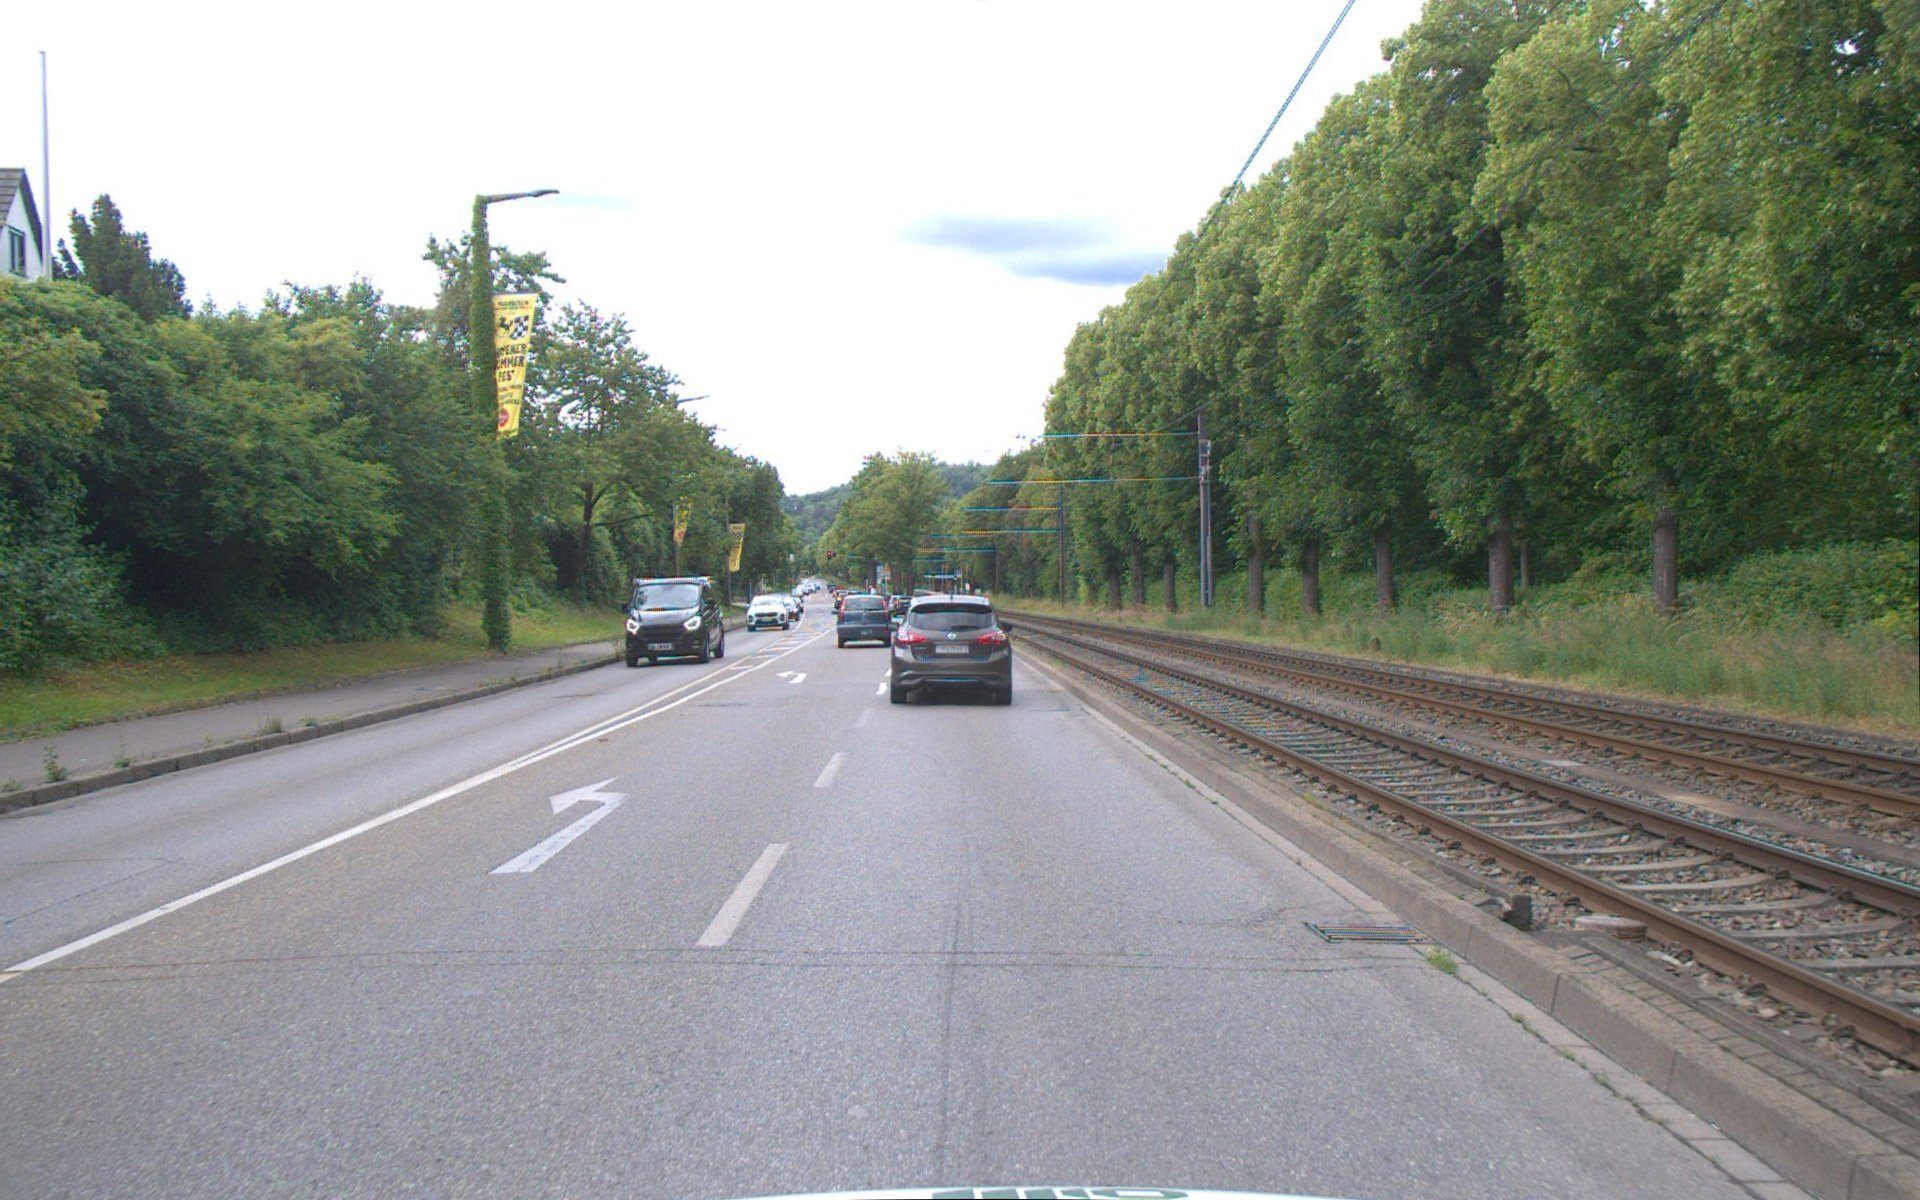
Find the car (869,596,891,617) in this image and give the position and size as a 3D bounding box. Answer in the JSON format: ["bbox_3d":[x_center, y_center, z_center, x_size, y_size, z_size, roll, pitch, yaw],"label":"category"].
[{"bbox_3d":[-6.240,0.502,129.333,1.681,1.577,3.998,0,-1,-2],"label":"car"}]

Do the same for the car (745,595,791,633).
[{"bbox_3d":[-8.974,0.623,77.641,1.805,1.648,4.157,-2,0,-3],"label":"car"}]

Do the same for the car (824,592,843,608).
[{"bbox_3d":[-13.559,0.005,177.419,1.665,1.744,4.000,0,0,-1],"label":"car"}]

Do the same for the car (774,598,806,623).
[{"bbox_3d":[-10.637,0.637,103.609,1.731,1.425,4.213,-3,0,-3],"label":"car"}]

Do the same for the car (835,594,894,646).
[{"bbox_3d":[-2.813,0.569,48.778,1.666,1.469,3.997,0,0,-3],"label":"car"}]

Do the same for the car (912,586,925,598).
[{"bbox_3d":[-5.829,-1.091,233.865,1.681,1.692,3.704,0,-1,-4],"label":"car"}]

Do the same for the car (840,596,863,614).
[{"bbox_3d":[-9.444,0.419,144.138,1.757,1.537,4.000,0,0,-1],"label":"car"}]

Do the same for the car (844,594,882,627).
[{"bbox_3d":[-4.399,0.459,75.479,1.665,1.469,3.998,0,0,-2],"label":"car"}]

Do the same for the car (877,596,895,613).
[{"bbox_3d":[-6.798,0.447,152.170,1.681,1.577,3.998,0,-1,-2],"label":"car"}]

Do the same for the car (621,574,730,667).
[{"bbox_3d":[-6.946,0.472,40.828,1.954,2.071,5.113,-2,0,-3],"label":"car"}]

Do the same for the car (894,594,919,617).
[{"bbox_3d":[-3.671,0.375,113.185,1.681,1.577,3.998,0,-1,-2],"label":"car"}]

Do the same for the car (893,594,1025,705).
[{"bbox_3d":[-0.035,0.679,24.746,1.813,1.519,3.999,0,0,-1],"label":"car"}]

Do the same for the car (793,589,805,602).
[{"bbox_3d":[-23.319,-0.636,239.863,1.681,1.791,3.996,0,-1,-4],"label":"car"}]

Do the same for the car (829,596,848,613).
[{"bbox_3d":[-12.335,0.458,167.570,1.665,1.744,4.000,0,0,-1],"label":"car"}]
